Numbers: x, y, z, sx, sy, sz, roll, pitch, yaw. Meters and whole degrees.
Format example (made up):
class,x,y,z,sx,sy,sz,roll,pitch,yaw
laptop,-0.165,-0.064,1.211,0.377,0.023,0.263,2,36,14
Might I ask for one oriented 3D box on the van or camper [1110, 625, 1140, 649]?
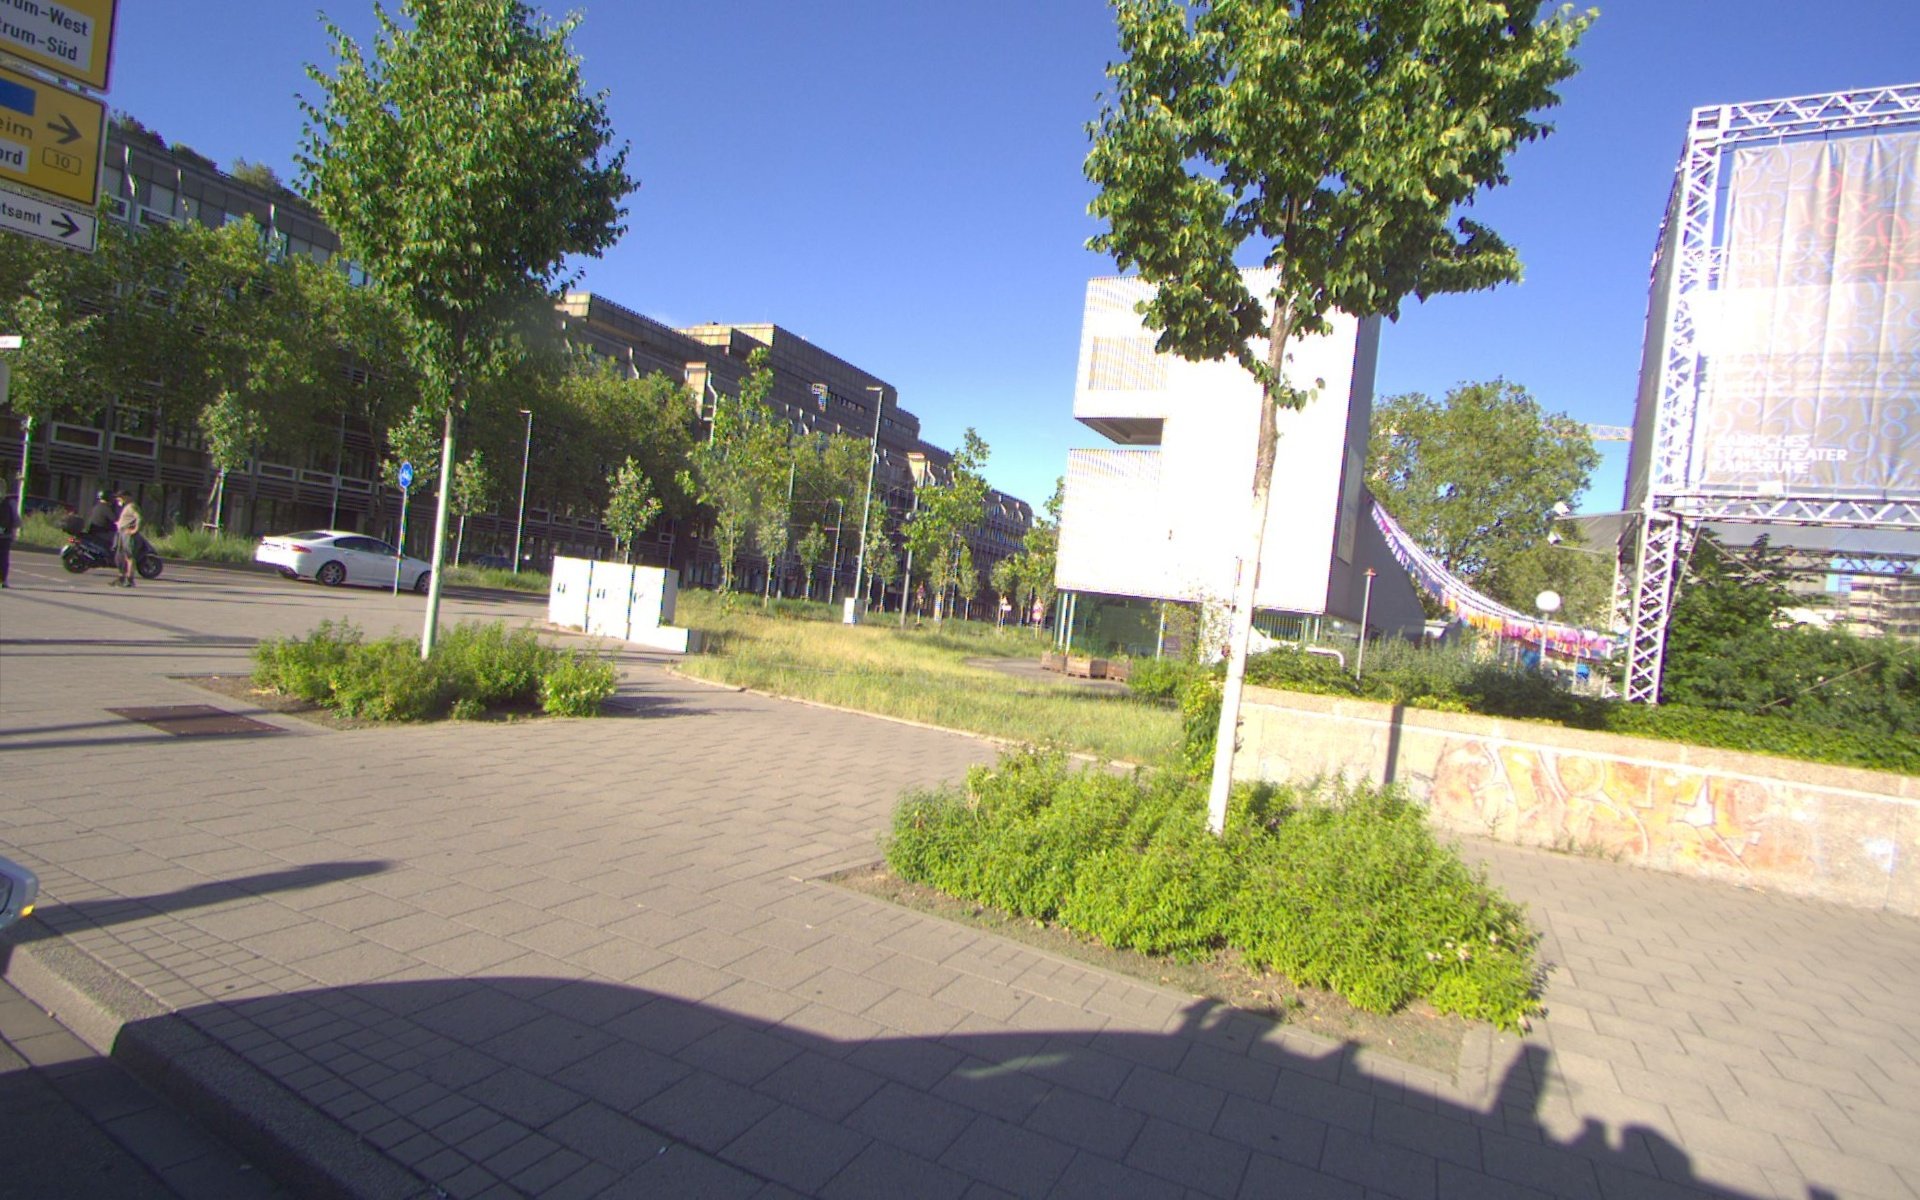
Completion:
class,x,y,z,sx,sy,sz,roll,pitch,yaw
van or camper,15.962,3.608,97.124,1.969,2.038,4.844,7,-1,19

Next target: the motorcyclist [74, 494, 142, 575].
class,x,y,z,sx,sy,sz,roll,pitch,yaw
motorcyclist,-17.158,-1.318,20.273,0.588,1.497,0.751,7,0,24

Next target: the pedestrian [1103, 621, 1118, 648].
class,x,y,z,sx,sy,sz,roll,pitch,yaw
pedestrian,9.152,2.111,61.182,0.520,1.571,0.638,7,-1,31

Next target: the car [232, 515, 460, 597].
class,x,y,z,sx,sy,sz,roll,pitch,yaw
car,-16.714,-1.133,27.755,1.963,1.583,5.099,7,-1,22

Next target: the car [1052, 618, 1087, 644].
class,x,y,z,sx,sy,sz,roll,pitch,yaw
car,9.477,2.722,86.933,1.851,1.886,4.833,7,-1,18

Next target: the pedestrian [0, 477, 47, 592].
class,x,y,z,sx,sy,sz,roll,pitch,yaw
pedestrian,-14.294,-1.008,14.939,0.859,1.634,0.767,7,1,30

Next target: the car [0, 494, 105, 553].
class,x,y,z,sx,sy,sz,roll,pitch,yaw
car,-33.265,-2.789,35.465,1.792,1.704,4.302,7,-1,21

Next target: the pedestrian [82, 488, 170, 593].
class,x,y,z,sx,sy,sz,roll,pitch,yaw
pedestrian,-14.890,-1.055,17.977,0.755,1.728,0.873,7,1,30

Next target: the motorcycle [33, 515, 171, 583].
class,x,y,z,sx,sy,sz,roll,pitch,yaw
motorcycle,-17.200,-0.997,20.232,0.637,1.114,1.960,7,0,24
